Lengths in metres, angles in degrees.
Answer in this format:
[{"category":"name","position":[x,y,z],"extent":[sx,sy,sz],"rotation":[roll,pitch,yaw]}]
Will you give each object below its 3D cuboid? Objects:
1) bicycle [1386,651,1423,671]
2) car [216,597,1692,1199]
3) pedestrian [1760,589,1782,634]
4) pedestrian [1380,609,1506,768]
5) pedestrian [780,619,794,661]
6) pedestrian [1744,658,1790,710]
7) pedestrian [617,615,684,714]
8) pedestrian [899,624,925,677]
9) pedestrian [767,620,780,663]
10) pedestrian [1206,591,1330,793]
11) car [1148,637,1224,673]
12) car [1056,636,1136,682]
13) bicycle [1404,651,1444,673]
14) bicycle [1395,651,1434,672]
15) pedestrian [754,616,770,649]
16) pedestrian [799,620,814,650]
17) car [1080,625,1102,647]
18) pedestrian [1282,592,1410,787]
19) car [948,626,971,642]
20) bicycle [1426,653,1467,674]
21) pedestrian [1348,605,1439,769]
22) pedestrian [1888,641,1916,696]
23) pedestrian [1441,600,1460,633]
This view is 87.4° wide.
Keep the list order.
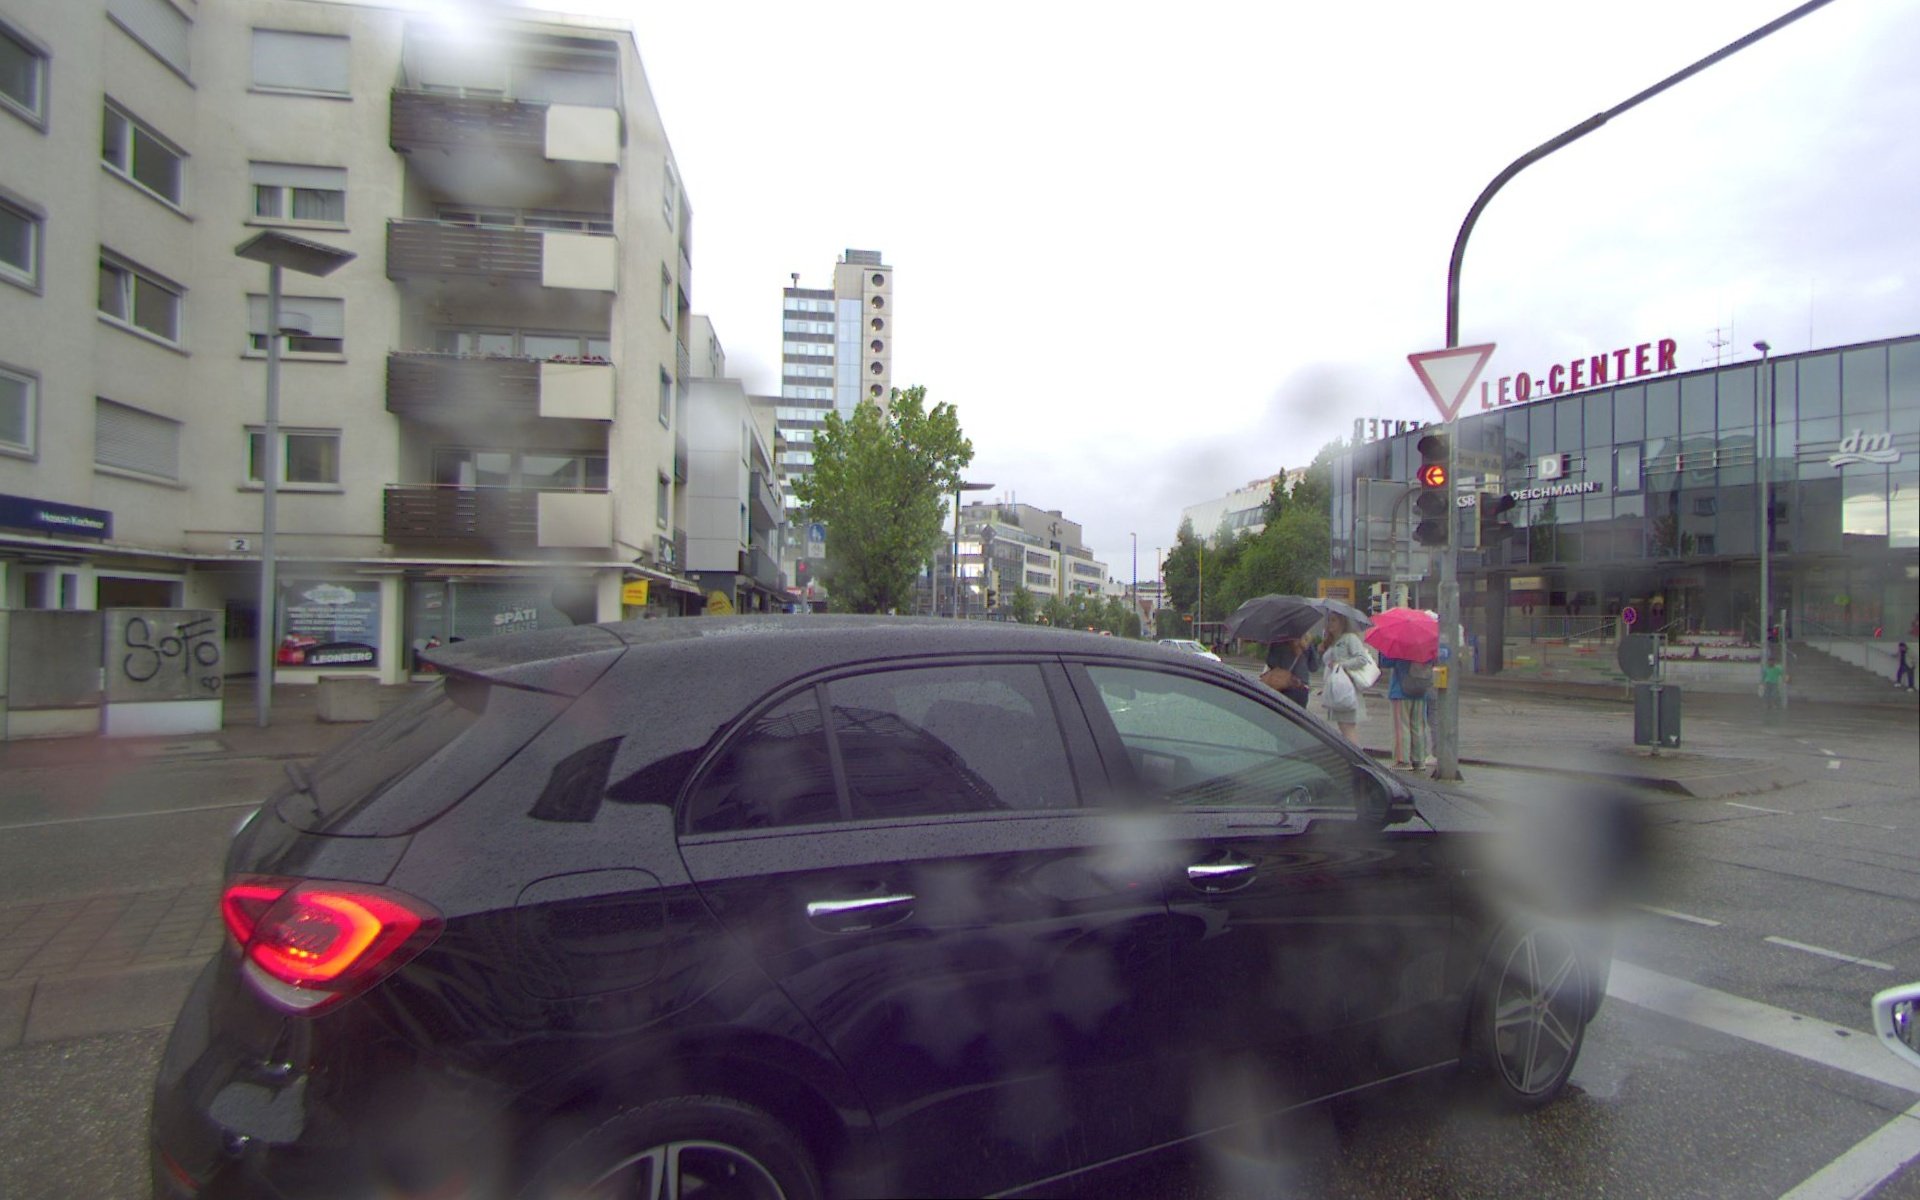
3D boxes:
[{"category":"bicycle","position":[23.695,3.250,53.546],"extent":[1.821,0.964,0.535],"rotation":[-1,0,-8]},{"category":"car","position":[0.342,0.784,3.065],"extent":[4.048,1.501,1.654],"rotation":[1,1,-32]},{"category":"pedestrian","position":[33.510,0.472,41.489],"extent":[0.625,1.831,0.501],"rotation":[2,0,43]},{"category":"pedestrian","position":[5.448,0.966,11.351],"extent":[0.906,1.699,0.931],"rotation":[2,-2,-30]},{"category":"pedestrian","position":[-7.587,1.750,44.091],"extent":[0.557,1.817,0.491],"rotation":[1,-2,-8]},{"category":"pedestrian","position":[26.647,2.762,33.175],"extent":[0.799,1.644,0.945],"rotation":[2,-2,-29]},{"category":"pedestrian","position":[-5.213,1.071,16.910],"extent":[0.904,1.606,0.651],"rotation":[2,-2,-33]},{"category":"pedestrian","position":[-1.575,1.635,32.751],"extent":[0.799,1.677,0.714],"rotation":[1,-2,-3]},{"category":"pedestrian","position":[-7.594,1.689,40.879],"extent":[0.441,1.746,0.499],"rotation":[1,-2,-12]},{"category":"pedestrian","position":[2.884,0.821,9.378],"extent":[0.937,1.759,0.835],"rotation":[0,-2,30]},{"category":"car","position":[10.152,2.465,45.444],"extent":[1.717,1.460,3.980],"rotation":[2,-1,-15]},{"category":"car","position":[4.720,2.040,35.680],"extent":[2.082,1.432,5.147],"rotation":[2,-2,0]},{"category":"bicycle","position":[24.078,3.224,52.138],"extent":[1.822,1.056,0.646],"rotation":[-1,-1,-12]},{"category":"bicycle","position":[23.925,3.229,52.880],"extent":[1.822,1.047,0.628],"rotation":[-1,-1,-12]},{"category":"pedestrian","position":[-12.172,1.995,61.747],"extent":[0.859,2.040,0.923],"rotation":[1,-1,-10]},{"category":"pedestrian","position":[-9.485,2.186,62.102],"extent":[0.859,1.835,0.923],"rotation":[1,-1,-10]},{"category":"car","position":[12.538,3.437,96.188],"extent":[2.008,1.921,4.141],"rotation":[1,-1,6]},{"category":"pedestrian","position":[3.738,0.841,9.825],"extent":[0.843,1.767,1.139],"rotation":[1,-2,3]},{"category":"car","position":[-0.097,3.072,91.097],"extent":[1.414,1.314,3.770],"rotation":[2,-1,-11]},{"category":"bicycle","position":[24.478,3.187,50.514],"extent":[1.822,1.036,0.631],"rotation":[0,-2,-12]},{"category":"pedestrian","position":[4.691,0.922,10.915],"extent":[0.790,1.707,0.674],"rotation":[1,-2,14]},{"category":"pedestrian","position":[34.430,2.494,36.714],"extent":[0.589,1.933,0.651],"rotation":[2,-1,-37]},{"category":"pedestrian","position":[25.828,0.866,52.884],"extent":[0.642,1.736,0.599],"rotation":[2,0,-6]}]
